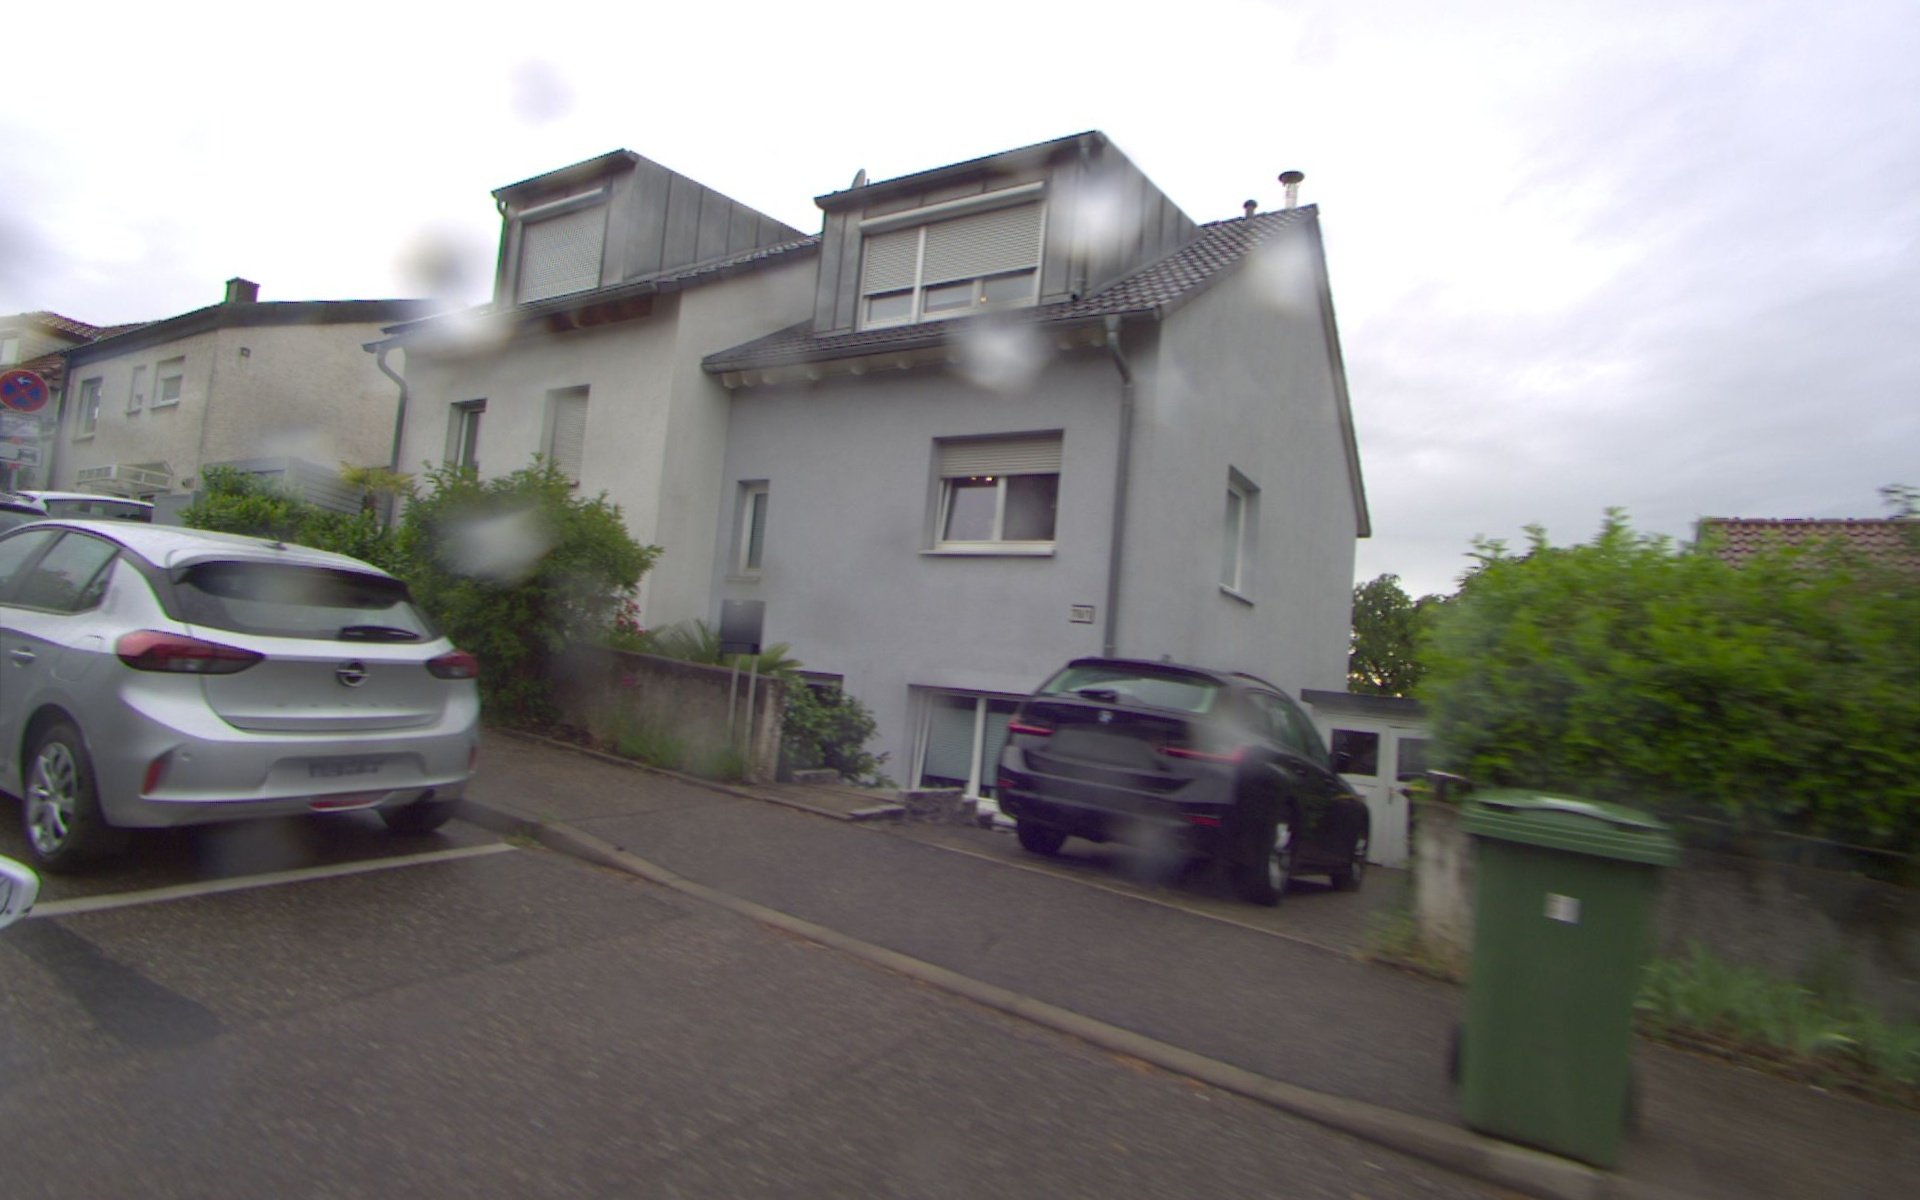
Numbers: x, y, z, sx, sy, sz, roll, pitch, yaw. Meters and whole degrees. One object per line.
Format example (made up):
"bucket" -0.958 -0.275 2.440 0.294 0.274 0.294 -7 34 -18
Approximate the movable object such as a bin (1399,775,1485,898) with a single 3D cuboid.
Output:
"movable object such as a bin" 5.031 2.436 10.480 0.635 1.080 0.677 7 -1 32

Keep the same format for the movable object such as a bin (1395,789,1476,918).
"movable object such as a bin" 4.685 2.472 9.905 0.556 1.080 0.576 7 -1 32

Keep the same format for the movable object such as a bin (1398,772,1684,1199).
"movable object such as a bin" 1.896 1.178 3.311 0.635 1.080 0.677 7 -1 32

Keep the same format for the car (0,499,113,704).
"car" -8.698 -0.185 7.986 3.698 1.485 1.663 7 0 28

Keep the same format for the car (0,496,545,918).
"car" -4.449 0.280 5.487 4.163 1.485 1.771 7 0 30

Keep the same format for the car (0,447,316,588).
"car" -13.640 -1.312 17.103 1.903 1.607 3.998 5 -4 30

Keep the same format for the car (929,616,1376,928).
"car" 1.725 1.333 7.517 1.966 1.453 4.010 6 -9 30
